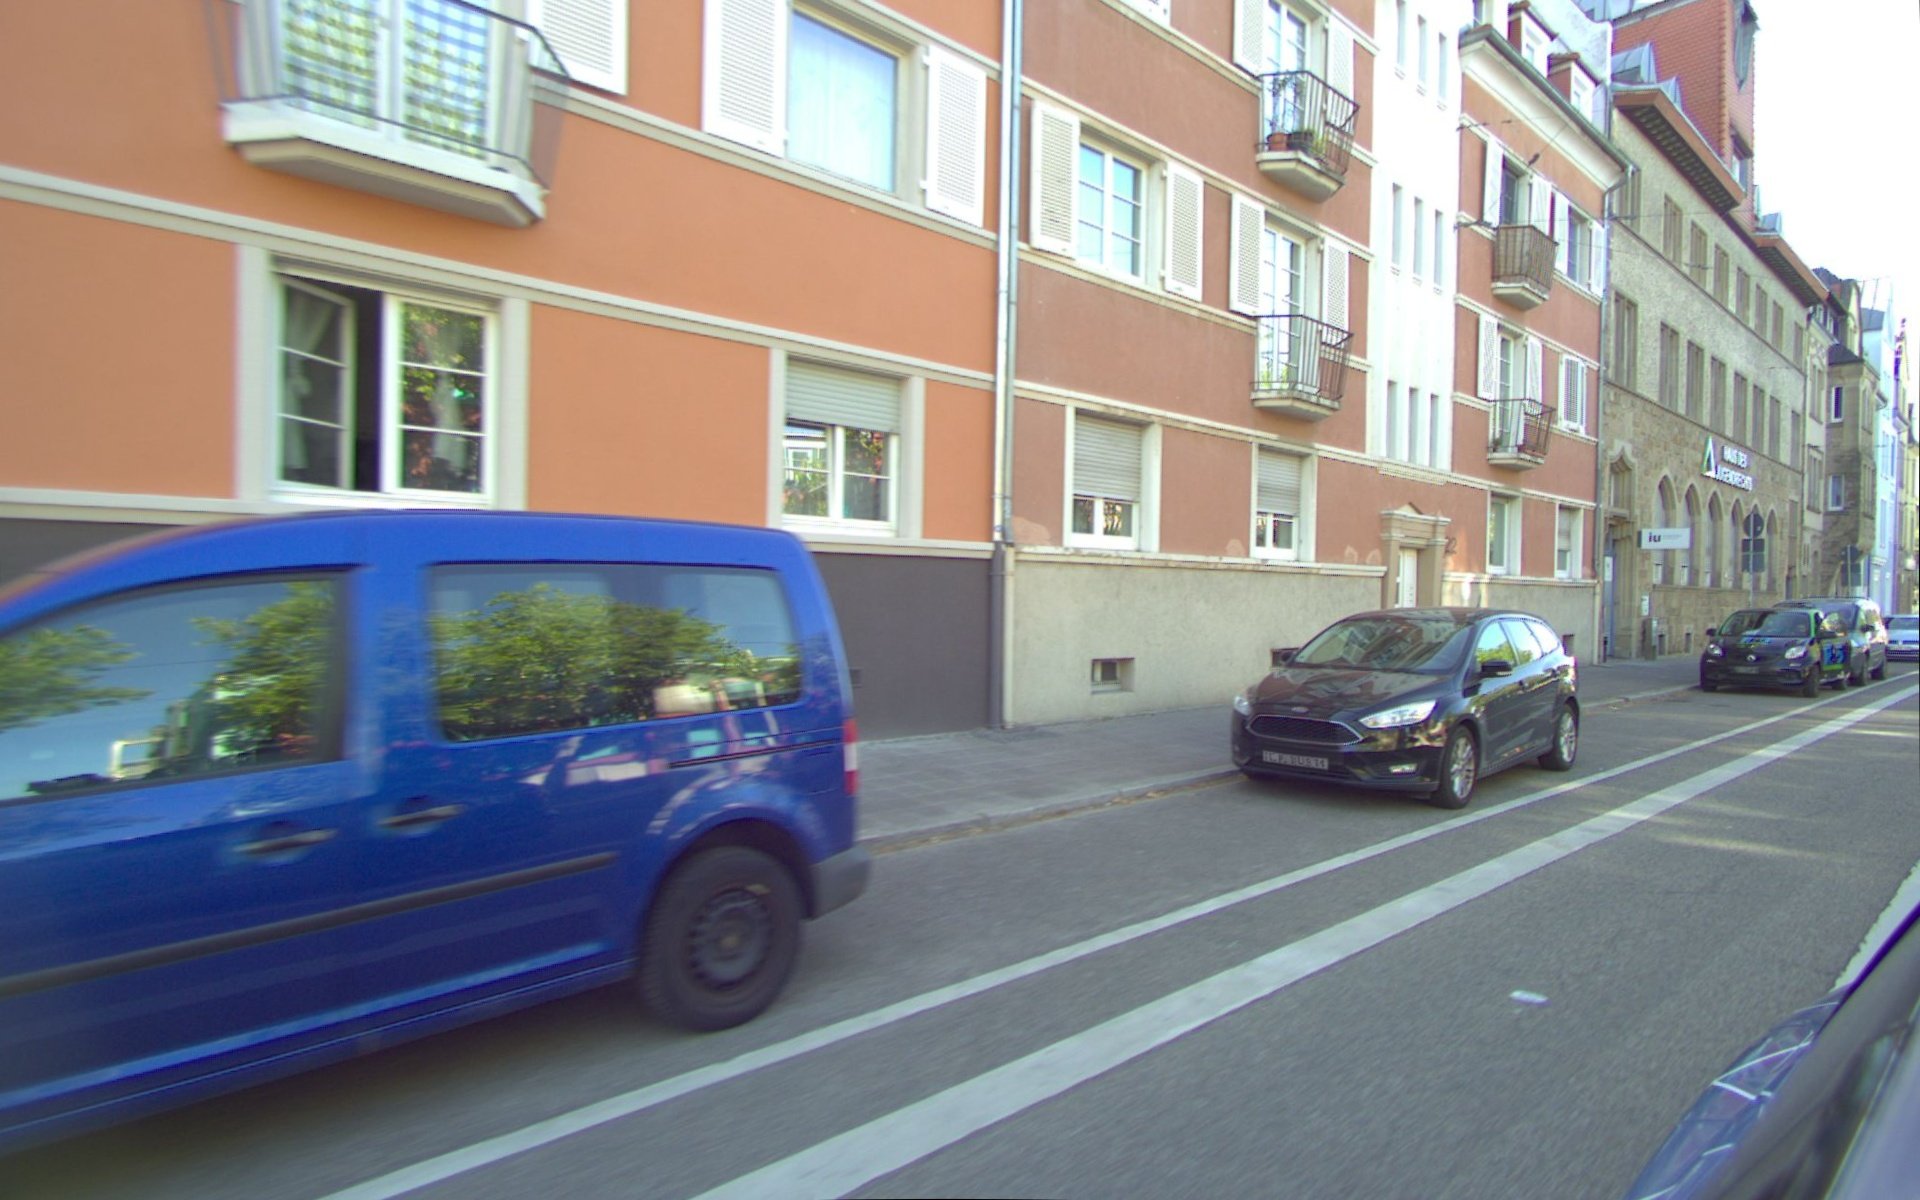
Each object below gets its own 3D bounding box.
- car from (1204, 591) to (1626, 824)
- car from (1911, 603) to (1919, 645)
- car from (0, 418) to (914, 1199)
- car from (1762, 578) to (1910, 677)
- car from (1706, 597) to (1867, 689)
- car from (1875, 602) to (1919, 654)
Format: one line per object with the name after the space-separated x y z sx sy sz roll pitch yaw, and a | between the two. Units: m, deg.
4.209 0.720 8.921 4.683 1.531 1.755 0 -1 -44 | car
37.270 0.883 38.018 4.121 1.520 1.756 0 -1 -40 | car
-2.289 0.523 3.191 4.199 1.833 1.704 0 -1 -43 | car
18.724 0.526 21.560 4.731 1.879 1.756 0 0 -41 | car
15.253 0.720 18.619 3.650 1.531 1.634 0 -1 -40 | car
29.817 0.835 31.328 4.152 1.520 1.716 0 -1 -41 | car
